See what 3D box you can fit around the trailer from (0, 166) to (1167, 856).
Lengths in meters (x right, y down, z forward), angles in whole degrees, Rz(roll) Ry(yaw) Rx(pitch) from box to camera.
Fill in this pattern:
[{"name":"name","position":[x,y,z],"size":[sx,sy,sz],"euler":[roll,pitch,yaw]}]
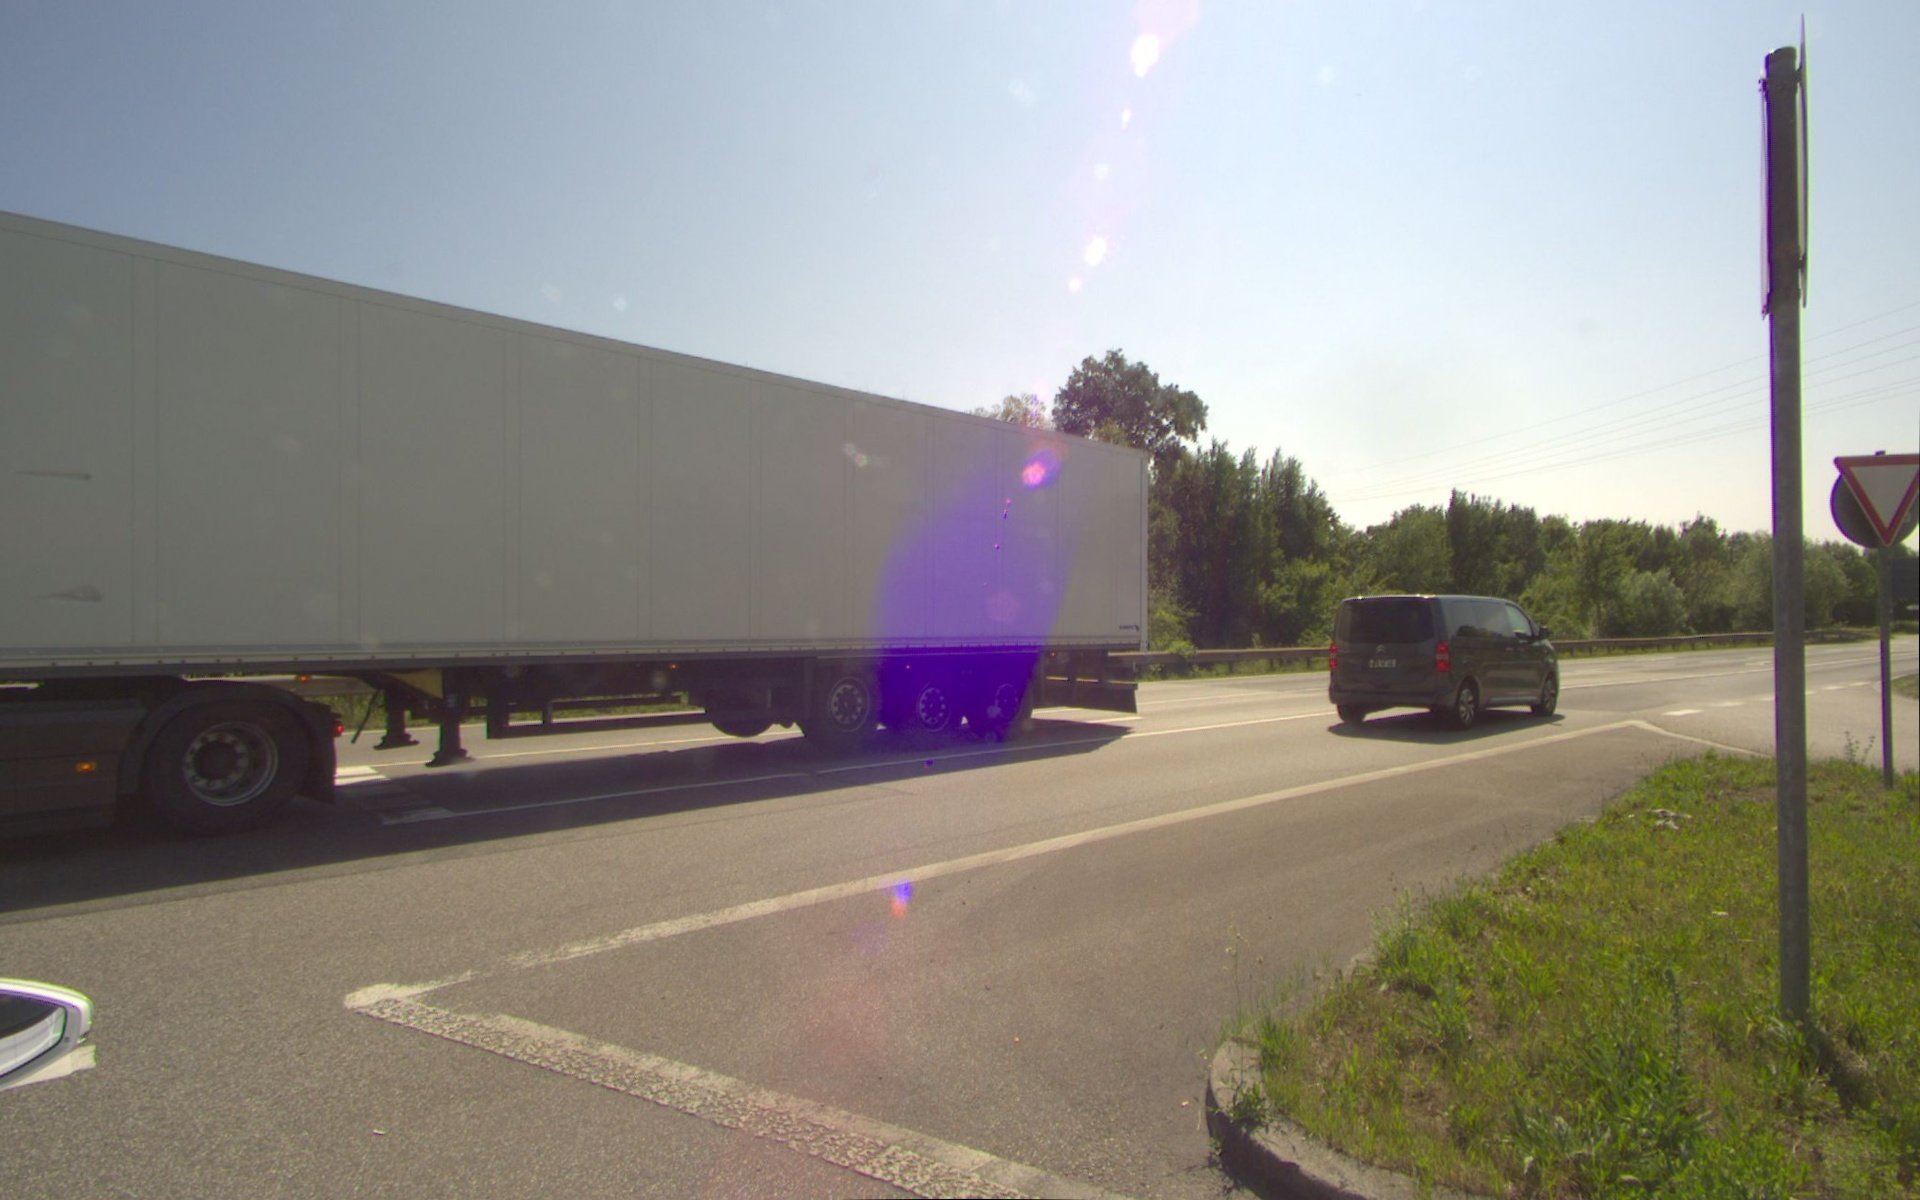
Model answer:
[{"name":"trailer","position":[-2.860,-0.429,11.074],"size":[13.847,4.219,2.868],"euler":[1,-1,-44]}]

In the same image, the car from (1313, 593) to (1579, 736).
[{"name":"car","position":[7.732,0.909,15.692],"size":[4.940,1.903,1.983],"euler":[1,-1,-41]}]

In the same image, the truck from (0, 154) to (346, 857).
[{"name":"truck","position":[-7.510,-0.576,5.968],"size":[2.840,4.227,5.938],"euler":[0,-1,34]}]
